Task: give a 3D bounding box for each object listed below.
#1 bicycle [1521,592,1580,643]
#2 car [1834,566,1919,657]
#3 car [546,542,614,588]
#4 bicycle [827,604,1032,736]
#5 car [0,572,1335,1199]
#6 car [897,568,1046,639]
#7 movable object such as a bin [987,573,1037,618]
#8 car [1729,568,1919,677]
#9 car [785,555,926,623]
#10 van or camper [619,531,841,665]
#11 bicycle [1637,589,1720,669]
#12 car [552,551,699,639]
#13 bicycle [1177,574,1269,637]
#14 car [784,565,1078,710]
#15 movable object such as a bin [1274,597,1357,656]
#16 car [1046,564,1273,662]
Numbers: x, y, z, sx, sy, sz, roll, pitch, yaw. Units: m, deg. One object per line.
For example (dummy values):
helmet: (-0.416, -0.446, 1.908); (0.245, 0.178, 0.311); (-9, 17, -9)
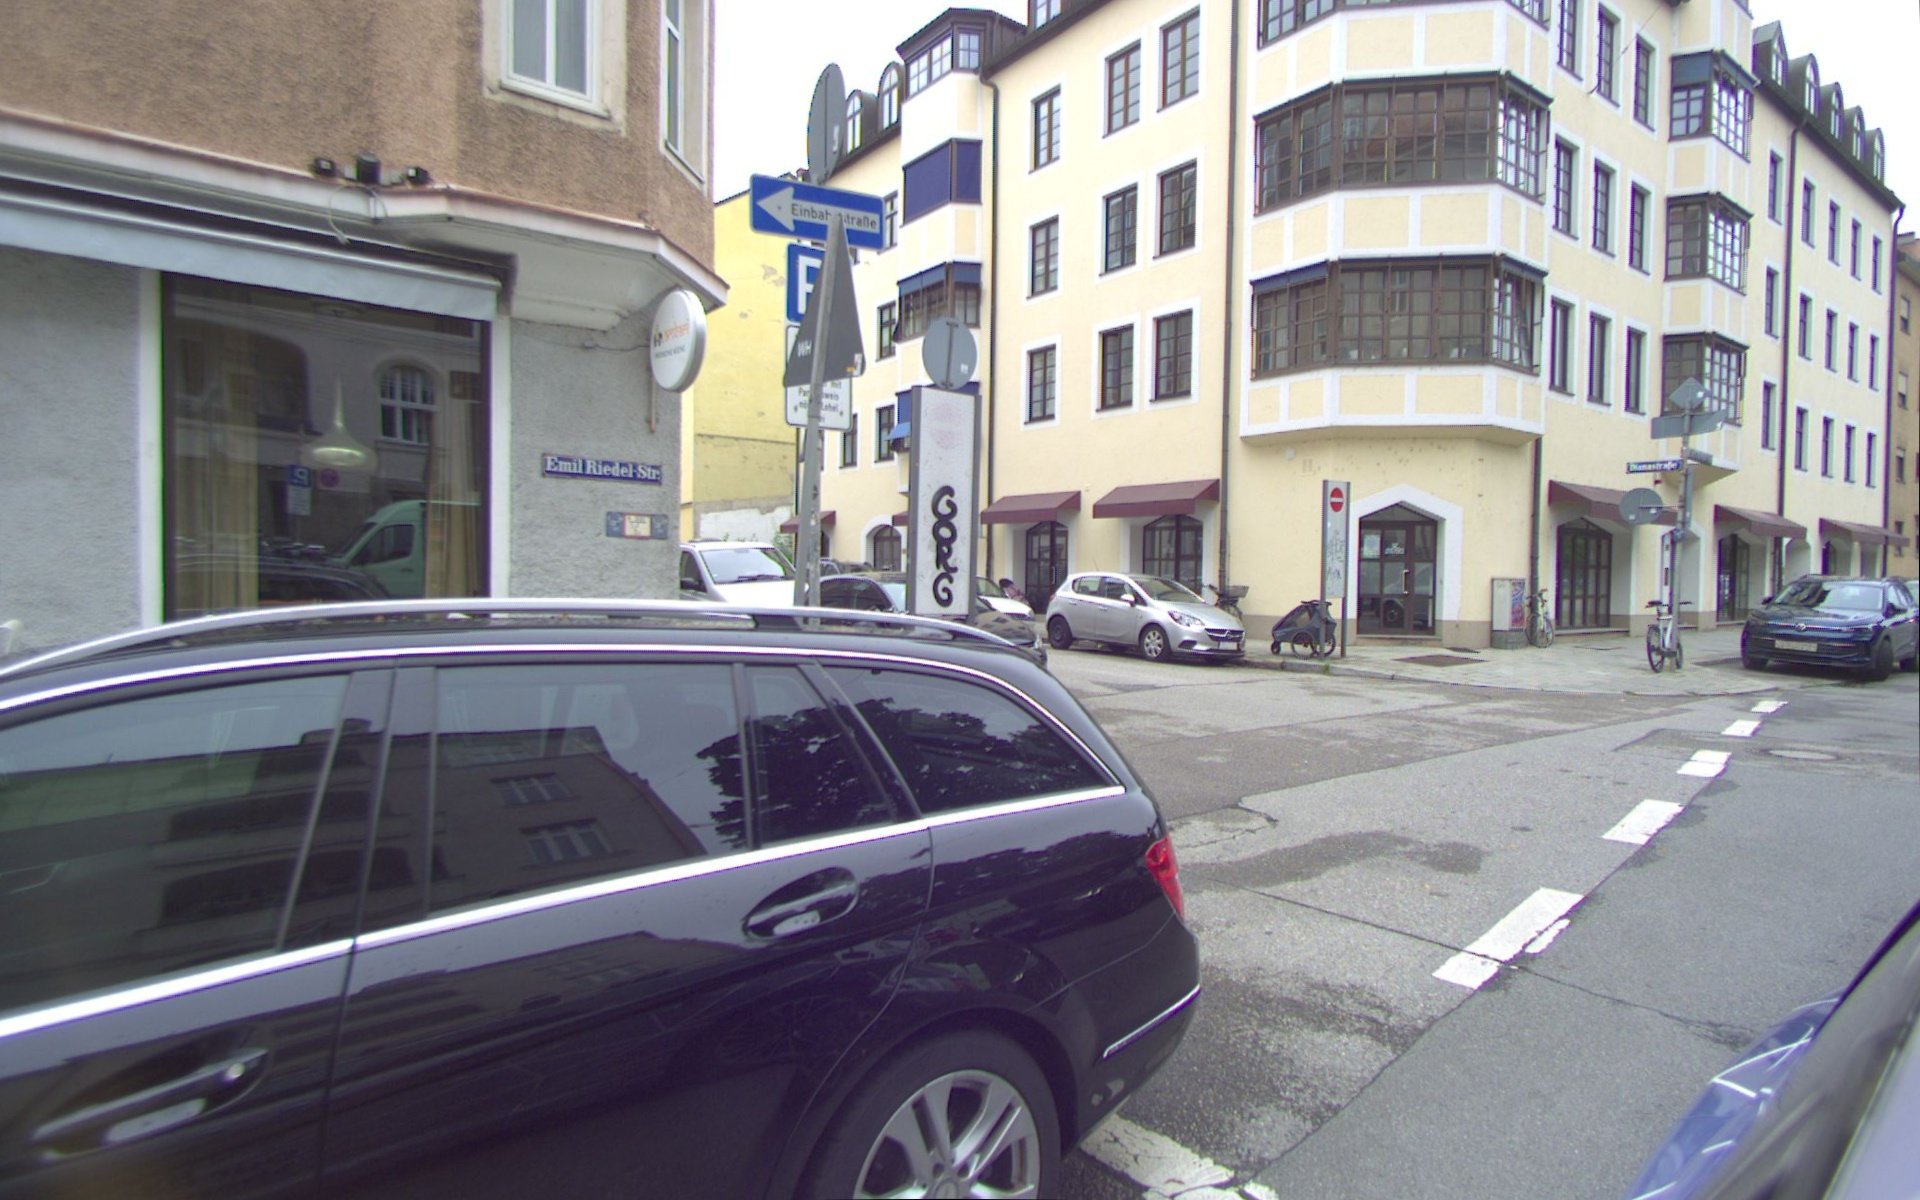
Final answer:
bicycle: (11.521, 0.334, 19.725); (1.663, 0.912, 0.263); (-1, 7, -35)
car: (19.696, 0.194, 20.546); (4.084, 1.607, 1.822); (-1, 7, -34)
car: (-17.695, -1.628, 47.025); (2.026, 2.003, 4.434); (-1, 2, -33)
bicycle: (-0.237, 0.572, 8.791); (1.768, 1.017, 0.497); (1, 3, -35)
car: (-1.429, 0.662, 1.951); (4.700, 1.422, 1.852); (-1, 2, -38)
car: (0.186, 0.016, 22.217); (1.607, 1.353, 3.458); (-1, 3, -33)
movable object such as a bin: (1.347, -0.130, 26.207); (0.753, 1.094, 1.126); (-1, 3, -36)
car: (15.440, 0.290, 17.651); (4.414, 1.642, 2.113); (-1, 2, -37)
car: (-2.783, -0.350, 26.261); (1.947, 1.603, 4.030); (-1, 2, -35)
van or camper: (-4.101, -0.153, 17.345); (1.925, 1.942, 4.916); (-3, 4, -36)
bicycle: (11.538, 0.432, 16.226); (2.015, 1.173, 0.431); (-1, 3, -36)
car: (-7.267, -0.198, 21.737); (1.941, 1.664, 3.999); (-1, 3, -35)
bicycle: (5.327, 0.082, 20.608); (0.506, 1.201, 1.906); (0, 2, -36)
car: (-0.513, 0.326, 12.846); (1.857, 1.506, 3.885); (-1, 3, -36)
movable object such as a bin: (5.972, 0.429, 17.020); (0.671, 0.911, 1.126); (-1, 3, -36)
car: (3.361, 0.169, 17.673); (1.717, 1.458, 3.749); (3, 1, -33)
